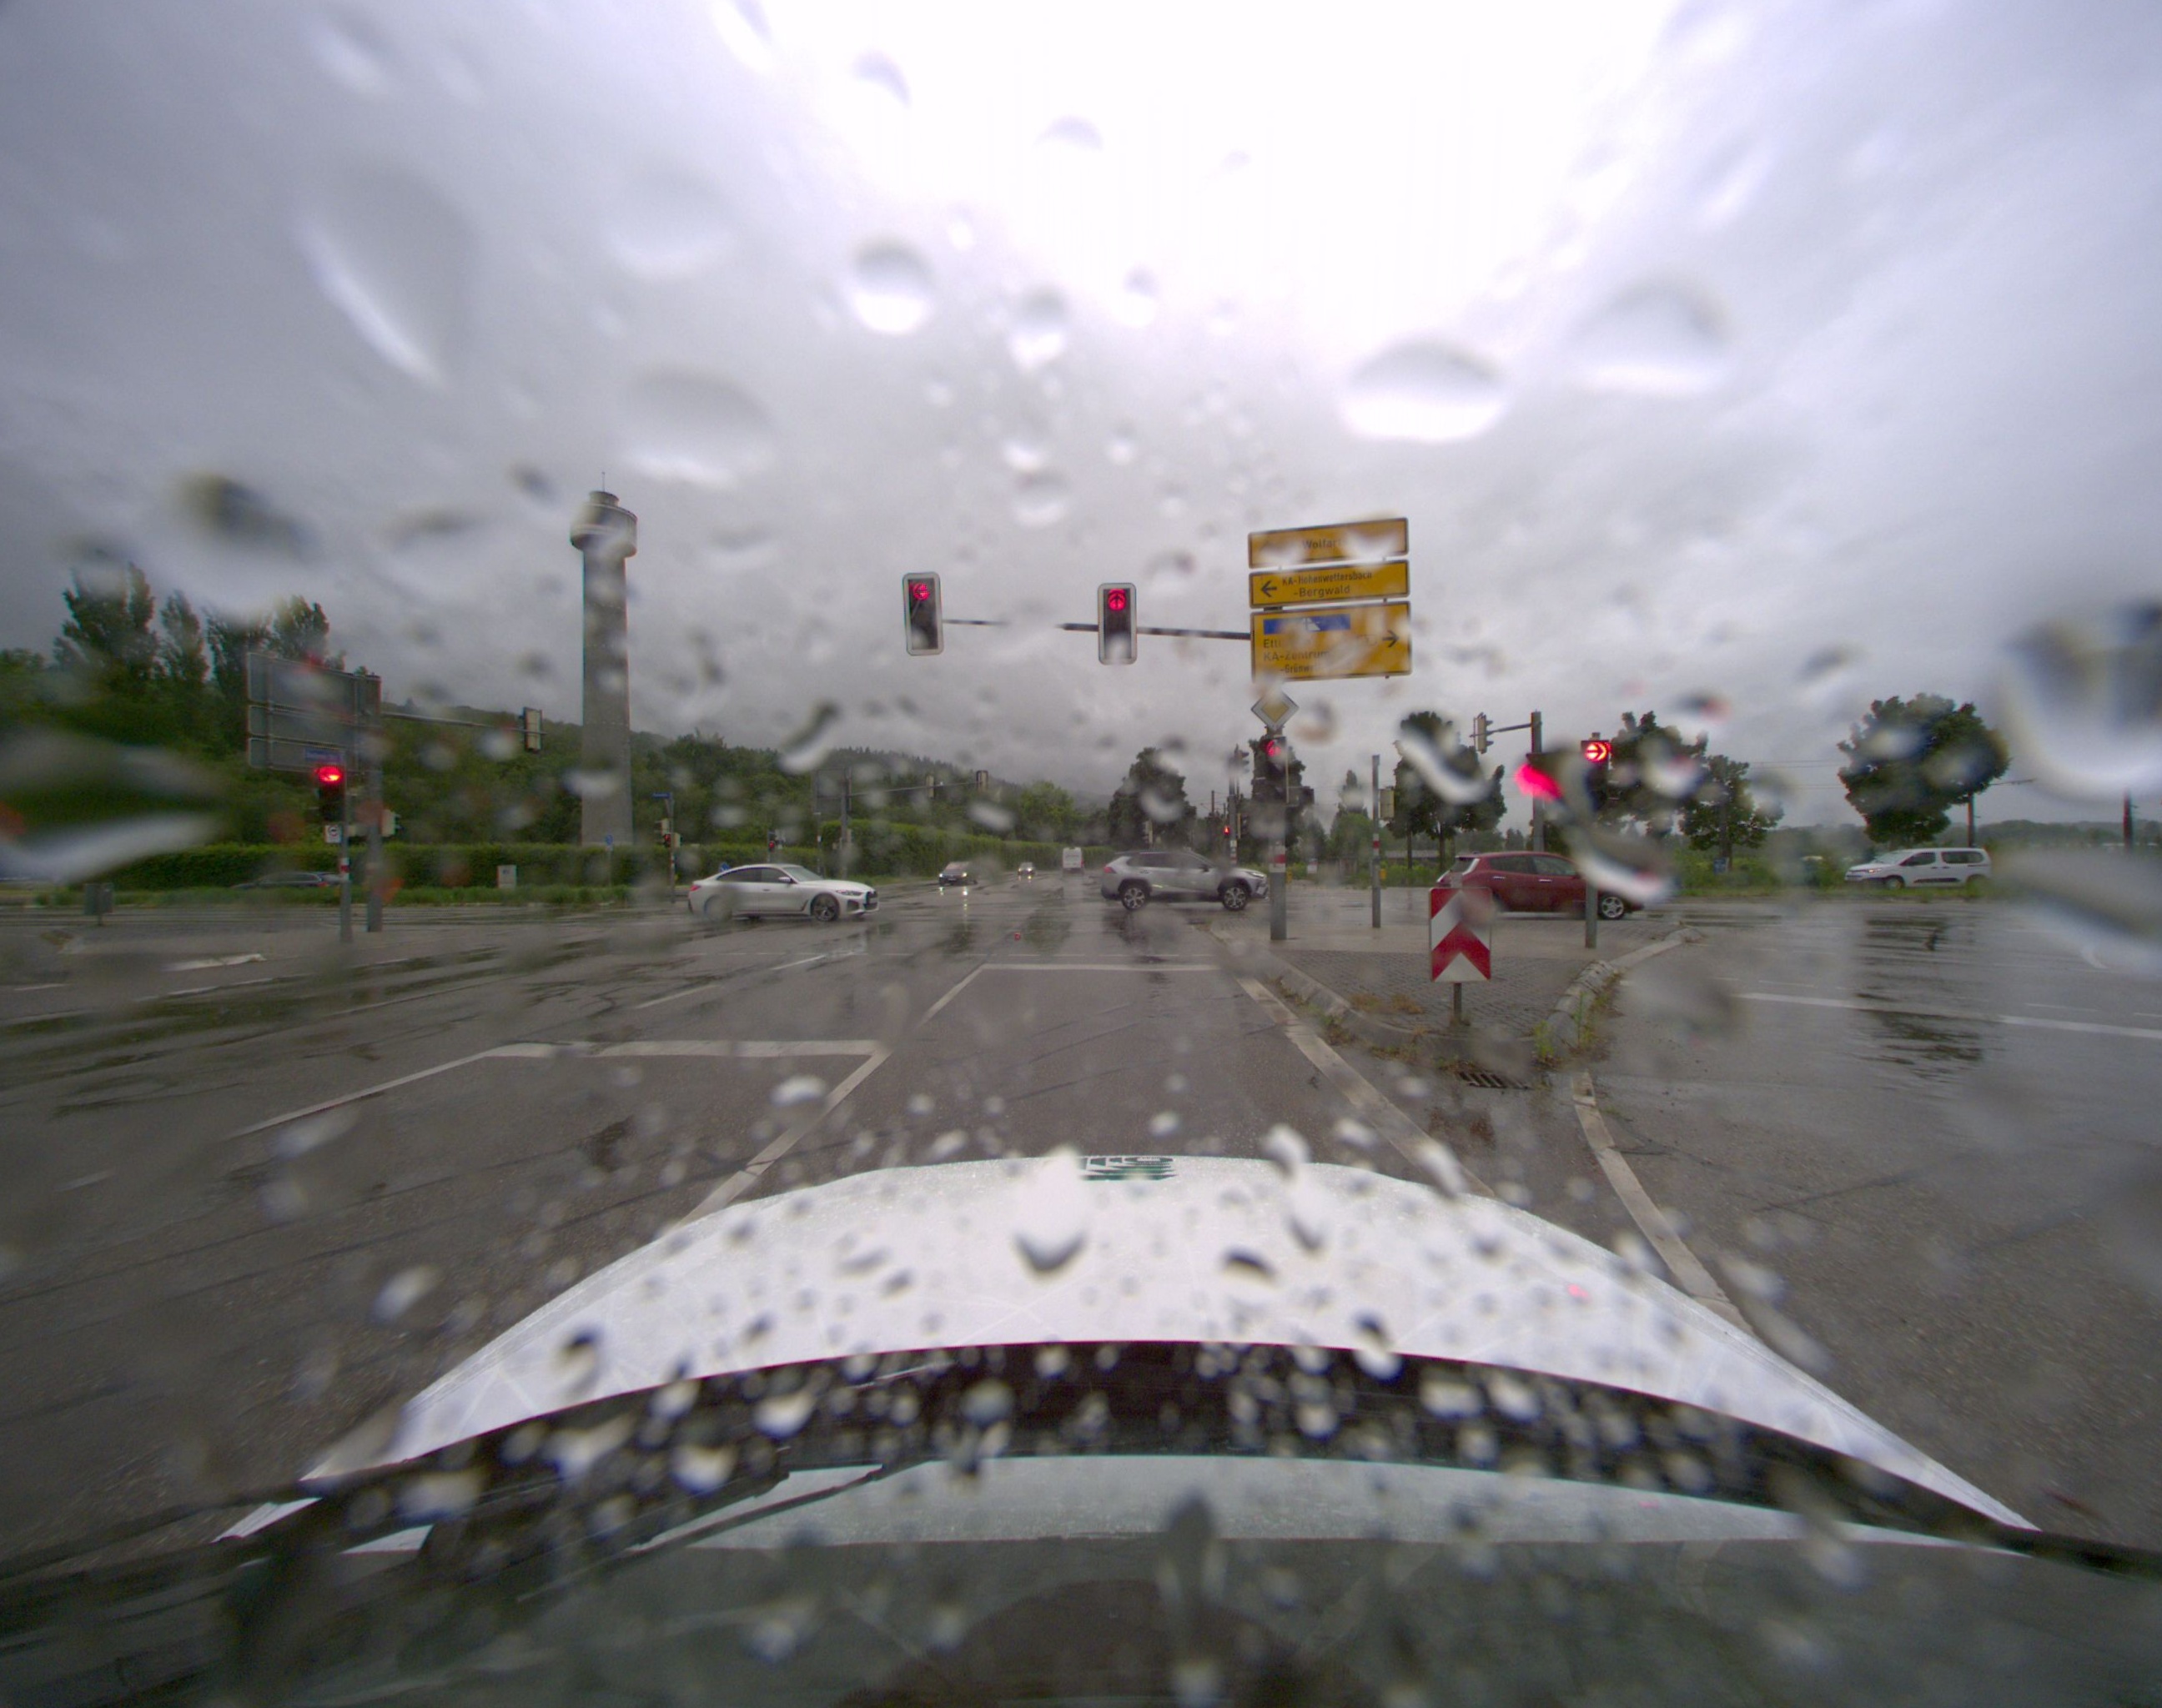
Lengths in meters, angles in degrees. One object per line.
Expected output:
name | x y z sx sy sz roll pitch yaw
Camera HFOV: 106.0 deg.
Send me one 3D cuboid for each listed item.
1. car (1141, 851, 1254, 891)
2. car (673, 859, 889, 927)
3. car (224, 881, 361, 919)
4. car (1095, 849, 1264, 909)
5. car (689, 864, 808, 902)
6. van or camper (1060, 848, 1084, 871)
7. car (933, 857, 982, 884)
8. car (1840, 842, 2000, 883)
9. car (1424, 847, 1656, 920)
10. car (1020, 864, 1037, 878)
car | 4.938 0.712 34.859 4.646 1.553 1.825 -1 0 5
car | -7.591 0.975 20.822 4.854 1.553 1.804 -1 0 8
car | -36.048 2.080 37.294 4.649 1.553 1.824 -1 0 4
car | 2.773 0.651 22.780 4.500 1.579 1.917 0 0 9
car | -15.108 1.318 37.118 4.647 1.553 1.825 -1 0 4
van or camper | -0.874 0.484 80.887 2.145 2.169 4.866 -1 0 1
car | -7.781 1.016 51.907 1.869 1.573 4.653 -3 0 6
car | 34.564 0.338 33.670 4.303 1.553 1.829 -1 0 13
car | 10.422 0.648 18.800 4.350 1.579 1.737 0 0 8
car | -5.716 1.841 89.316 1.552 1.481 3.362 -1 0 1
